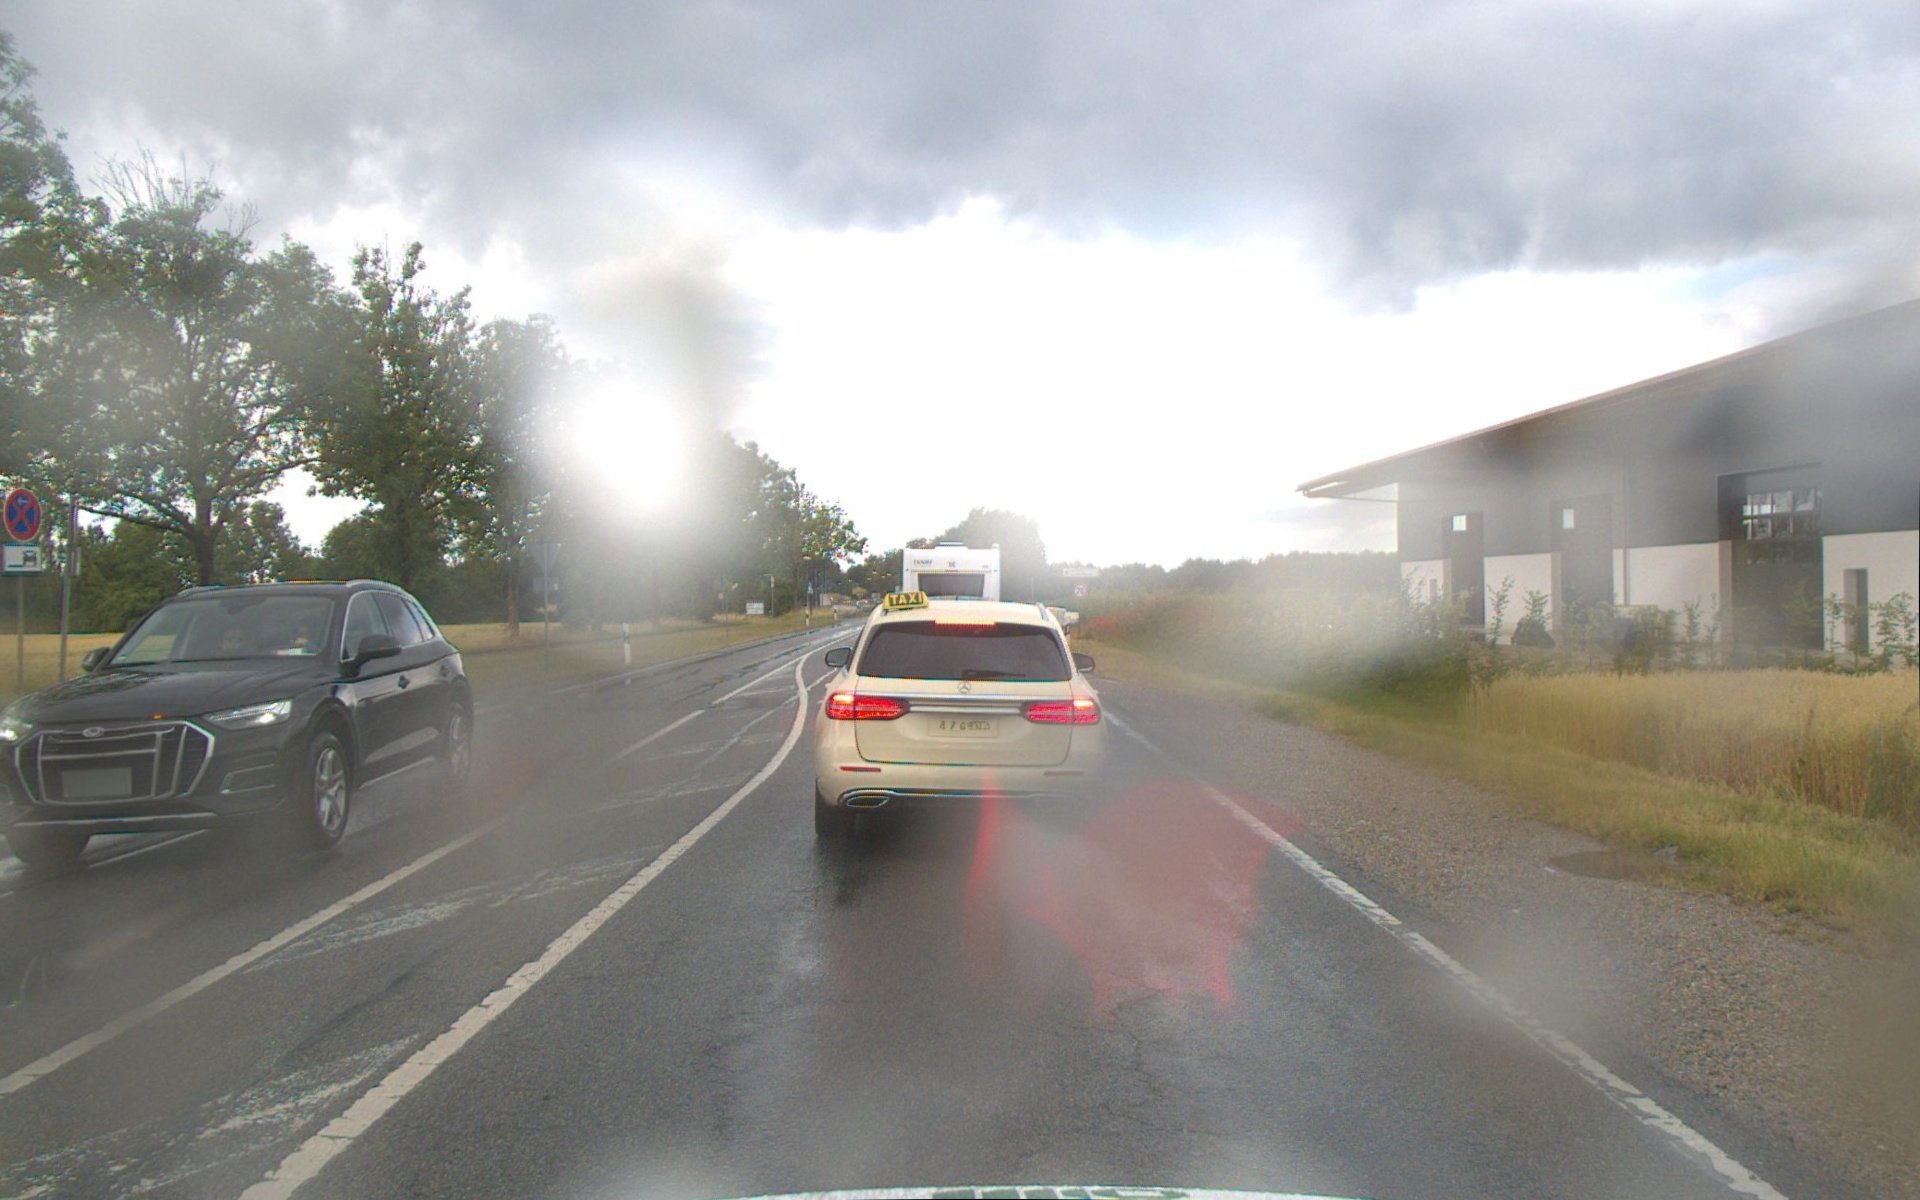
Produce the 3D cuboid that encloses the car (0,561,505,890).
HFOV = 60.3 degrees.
[{"bbox_3d":[-4.622,0.692,11.125,1.878,1.660,4.356,-4,0,-1],"label":"car"}]

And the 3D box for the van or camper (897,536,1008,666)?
[{"bbox_3d":[-0.164,0.025,40.342,2.446,2.880,5.933,-2,0,0],"label":"van or camper"}]

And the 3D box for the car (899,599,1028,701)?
[{"bbox_3d":[-0.008,0.720,25.840,1.856,1.454,3.926,0,0,-2],"label":"car"}]

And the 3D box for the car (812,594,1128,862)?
[{"bbox_3d":[0.047,0.708,11.251,1.760,1.490,4.030,0,0,0],"label":"car"}]
